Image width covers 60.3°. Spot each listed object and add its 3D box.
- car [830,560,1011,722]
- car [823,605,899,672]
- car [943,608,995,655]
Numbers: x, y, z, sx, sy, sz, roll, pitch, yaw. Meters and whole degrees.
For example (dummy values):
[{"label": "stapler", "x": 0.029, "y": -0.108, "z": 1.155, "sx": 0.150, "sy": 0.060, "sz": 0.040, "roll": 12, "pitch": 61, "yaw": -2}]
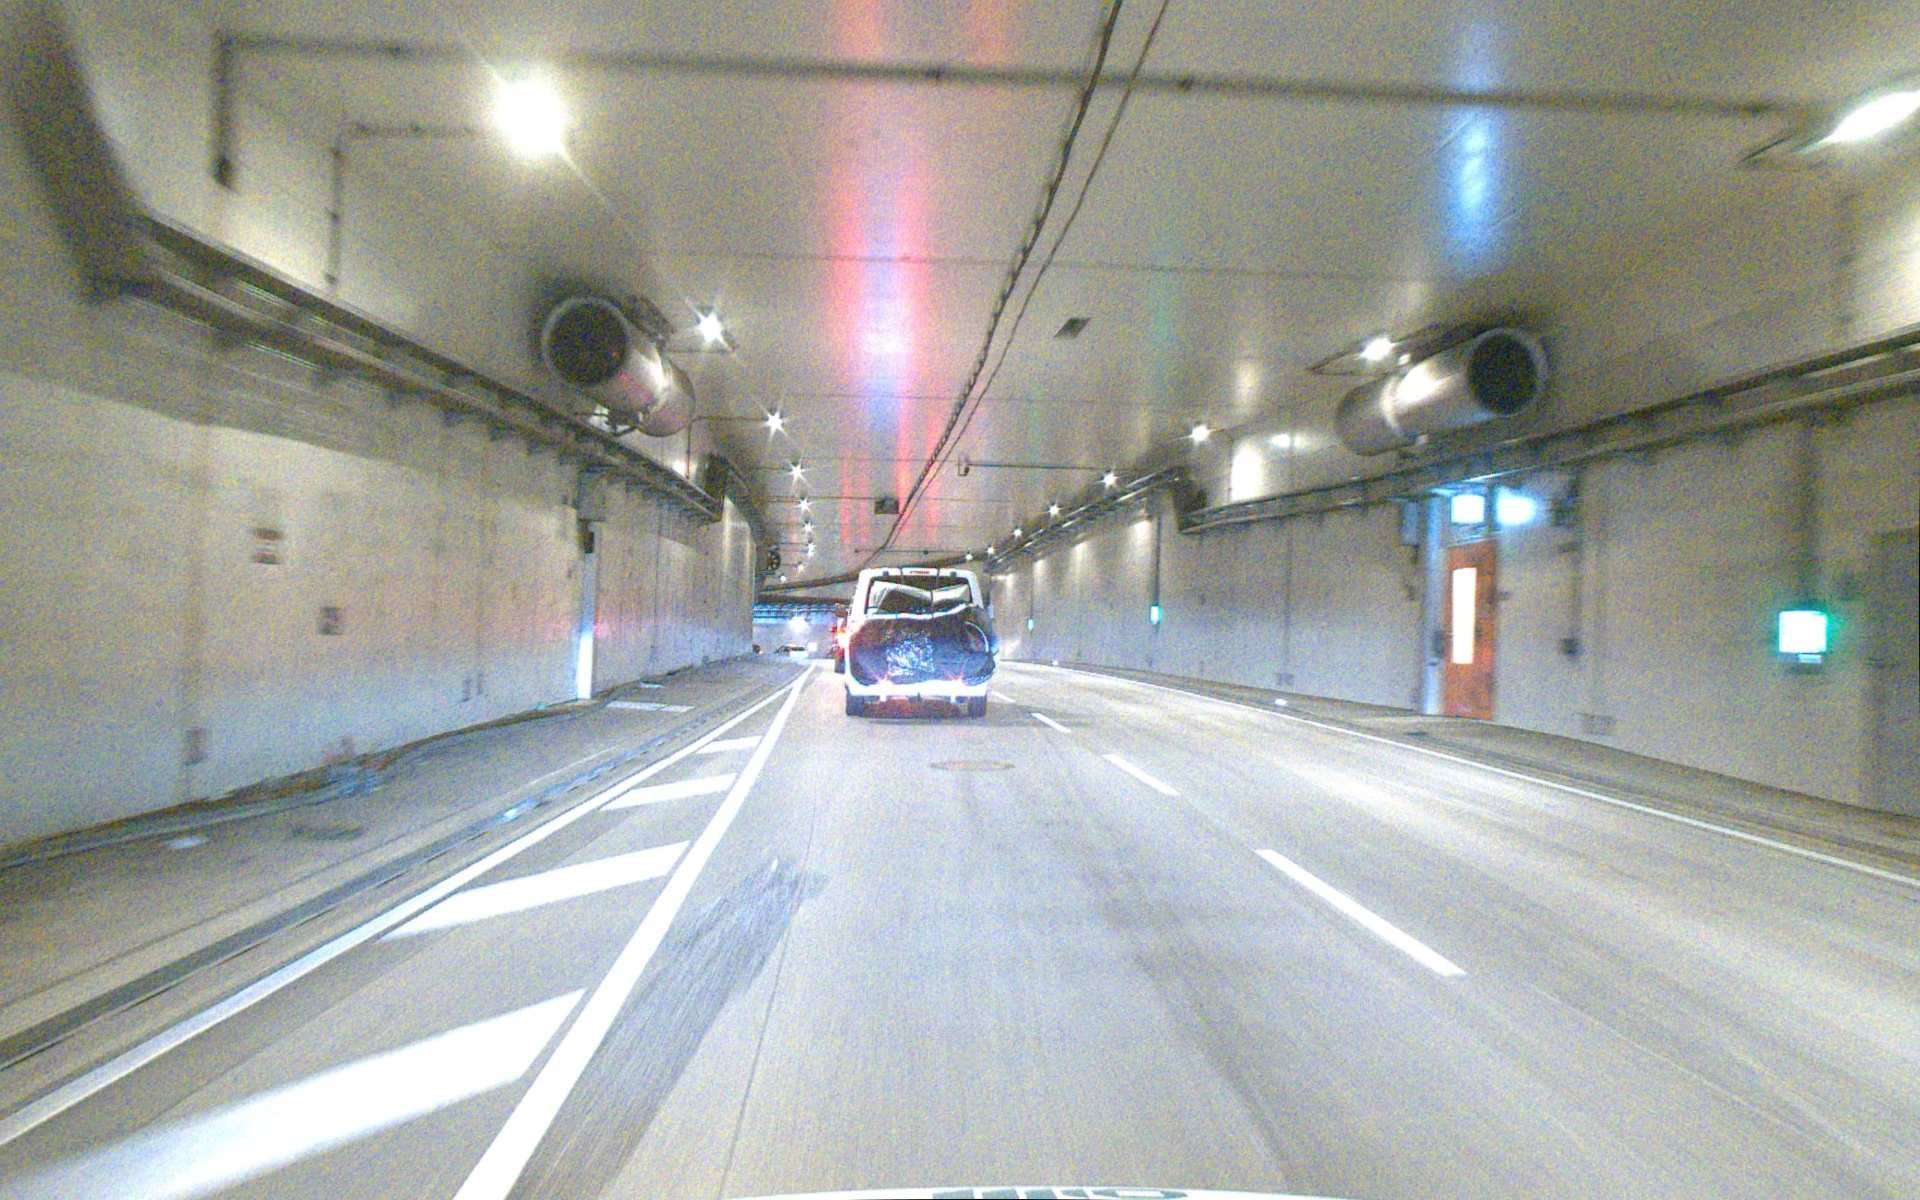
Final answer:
[{"label": "car", "x": -0.667, "y": 0.498, "z": 22.236, "sx": 1.955, "sy": 1.880, "sz": 5.293, "roll": 1, "pitch": 0, "yaw": -6}, {"label": "car", "x": -2.289, "y": 0.868, "z": 37.683, "sx": 1.572, "sy": 1.420, "sz": 3.273, "roll": 2, "pitch": -1, "yaw": -6}, {"label": "car", "x": 0.291, "y": 1.192, "z": 60.865, "sx": 1.572, "sy": 1.659, "sz": 3.351, "roll": 1, "pitch": -2, "yaw": -6}]
